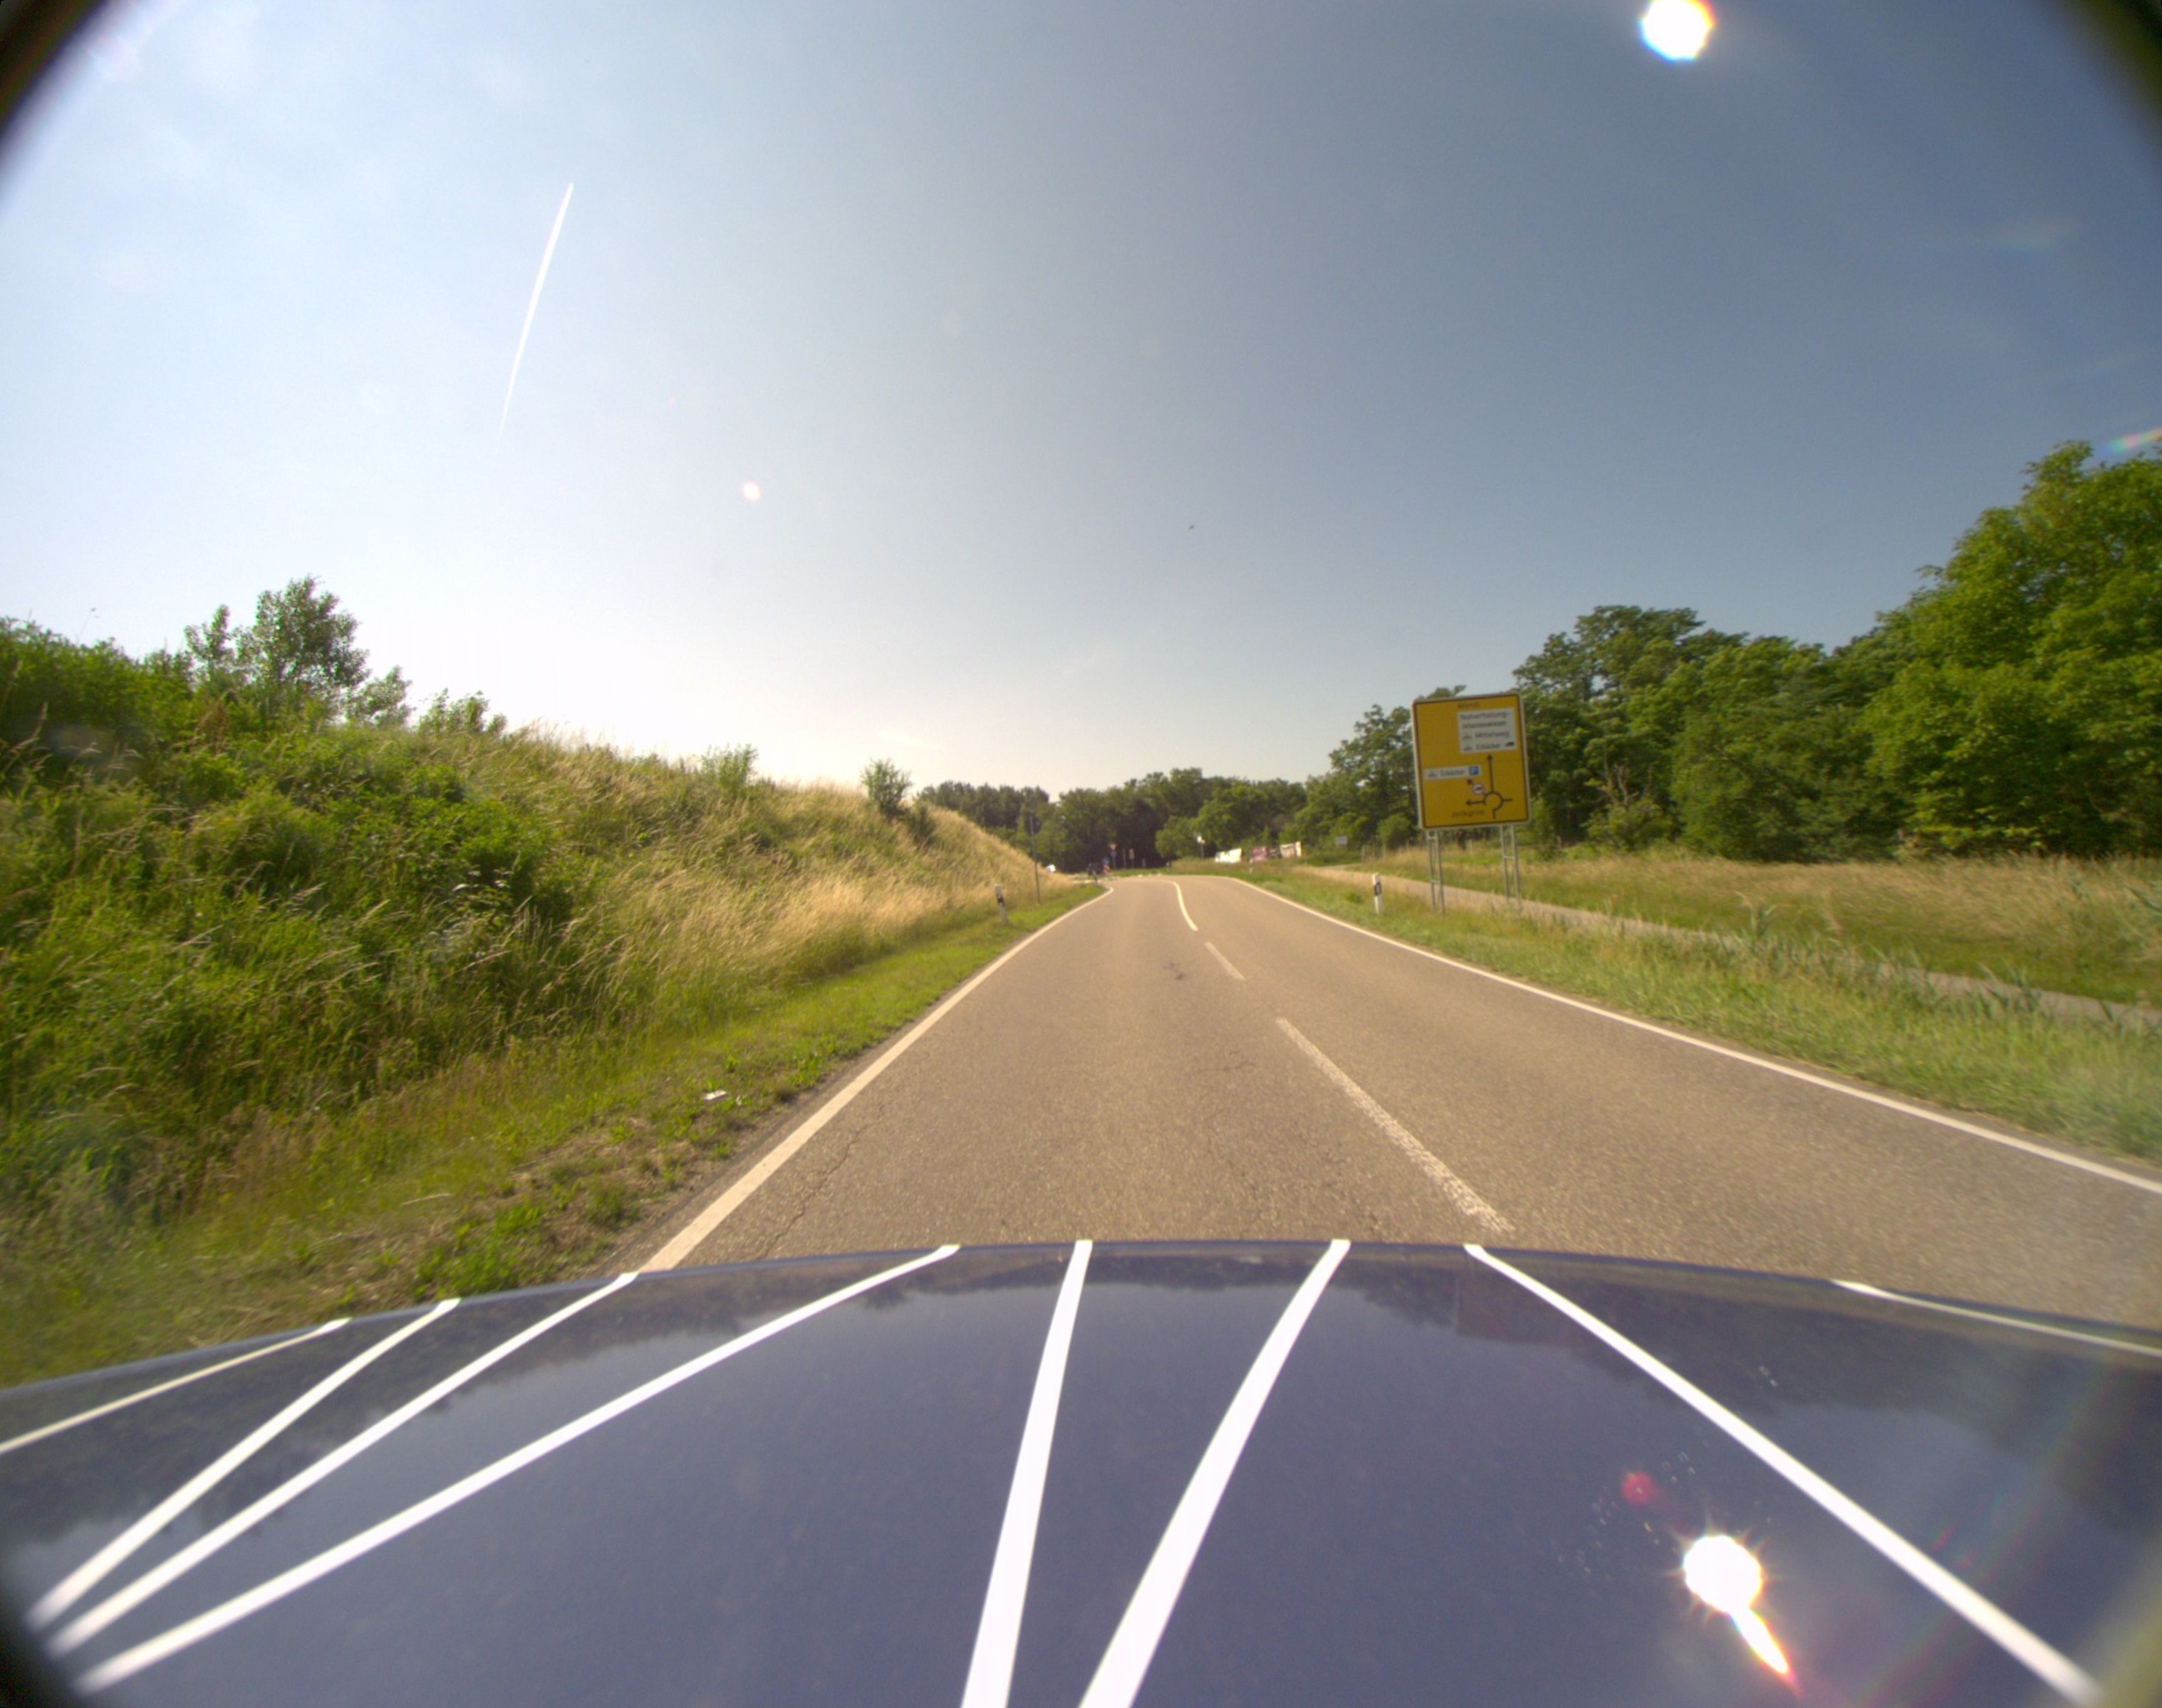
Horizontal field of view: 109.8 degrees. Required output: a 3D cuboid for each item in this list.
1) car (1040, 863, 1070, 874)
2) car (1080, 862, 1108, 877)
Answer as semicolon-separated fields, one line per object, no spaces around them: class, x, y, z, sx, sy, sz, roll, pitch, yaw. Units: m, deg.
car;-3.915;2.153;112.324;1.817;1.481;4.667;-4;1;-41
car;1.677;1.904;95.505;1.704;1.646;4.358;-4;0;25
